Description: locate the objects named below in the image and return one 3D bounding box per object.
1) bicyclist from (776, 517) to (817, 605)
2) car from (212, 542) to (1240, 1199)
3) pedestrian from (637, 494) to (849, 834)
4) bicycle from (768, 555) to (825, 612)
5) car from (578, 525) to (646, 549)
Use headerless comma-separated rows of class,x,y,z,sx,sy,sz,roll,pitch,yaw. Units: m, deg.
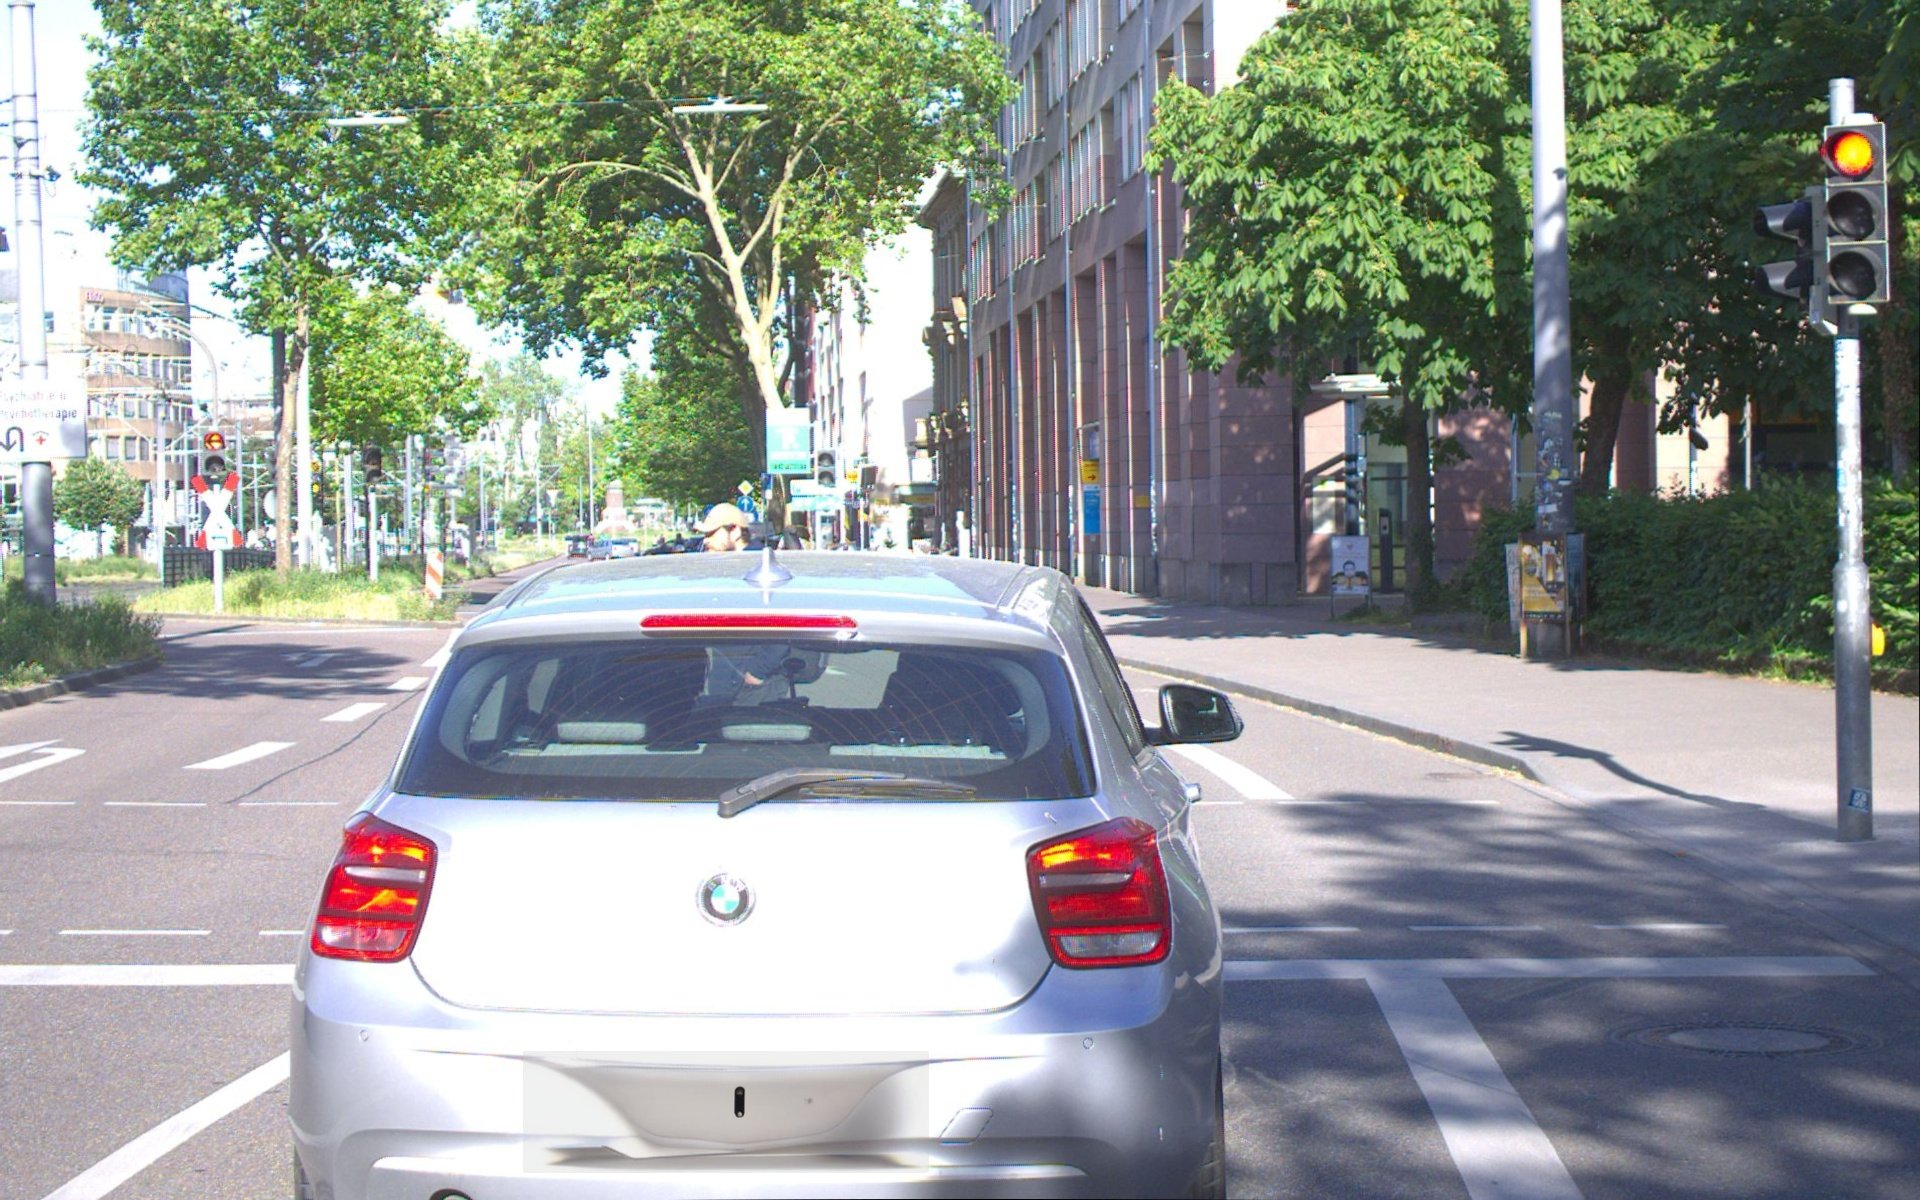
bicyclist,-3.146,-0.754,66.072,0.658,1.651,0.765,-1,1,5
car,-0.314,0.609,7.719,1.730,1.385,3.840,1,2,3
pedestrian,-1.066,0.301,16.821,0.940,1.623,0.629,0,1,-13
bicycle,-3.135,-0.322,66.120,0.831,1.038,1.874,-1,1,5
car,-22.071,-3.999,218.182,3.996,1.481,1.996,0,2,38
